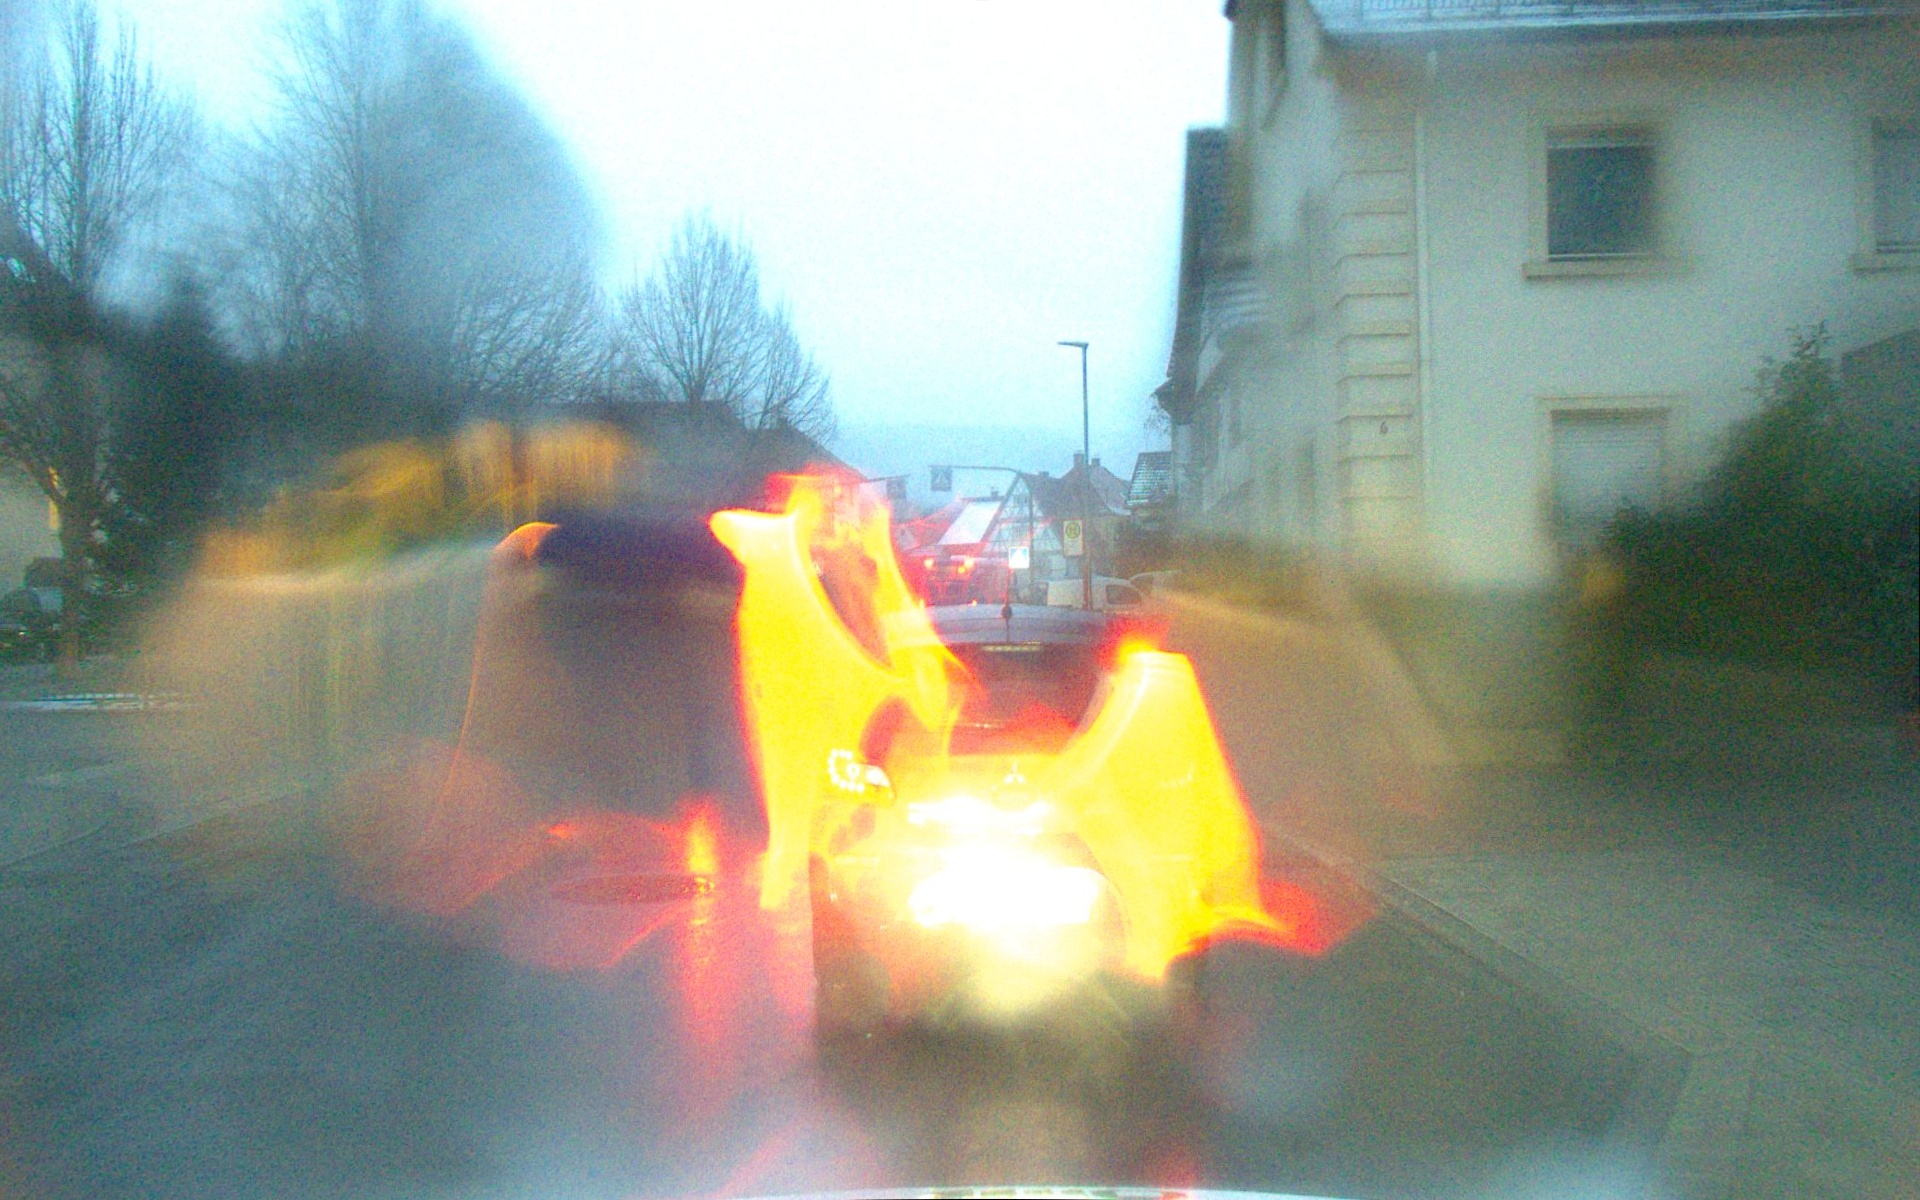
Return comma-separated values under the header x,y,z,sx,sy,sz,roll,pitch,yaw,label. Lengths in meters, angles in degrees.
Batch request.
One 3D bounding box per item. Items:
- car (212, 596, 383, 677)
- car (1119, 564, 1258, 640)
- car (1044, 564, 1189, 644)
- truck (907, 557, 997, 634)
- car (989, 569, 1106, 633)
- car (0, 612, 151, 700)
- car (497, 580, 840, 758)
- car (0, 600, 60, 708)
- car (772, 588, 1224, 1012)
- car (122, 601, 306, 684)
x,y,z,sx,sy,sz,roll,pitch,yaw,label
-17.280,0.933,43.173,3.903,2.033,1.820,0,0,19,car
6.772,0.052,49.225,4.010,2.189,1.915,0,0,6,car
4.445,0.100,46.934,4.010,2.200,1.915,0,0,6,car
-0.245,-0.205,72.714,2.951,3.183,8.006,0,0,7,truck
3.121,0.027,58.546,4.010,2.189,1.915,0,0,6,car
-19.381,1.142,35.005,3.903,1.760,1.820,0,0,19,car
-2.816,0.567,15.699,3.214,1.507,1.633,1,0,43,car
-19.792,1.036,32.203,3.903,2.023,1.820,0,0,19,car
0.117,0.715,7.580,1.604,1.507,3.378,0,0,-1,car
-18.163,1.002,40.286,3.903,1.944,1.820,0,0,19,car
